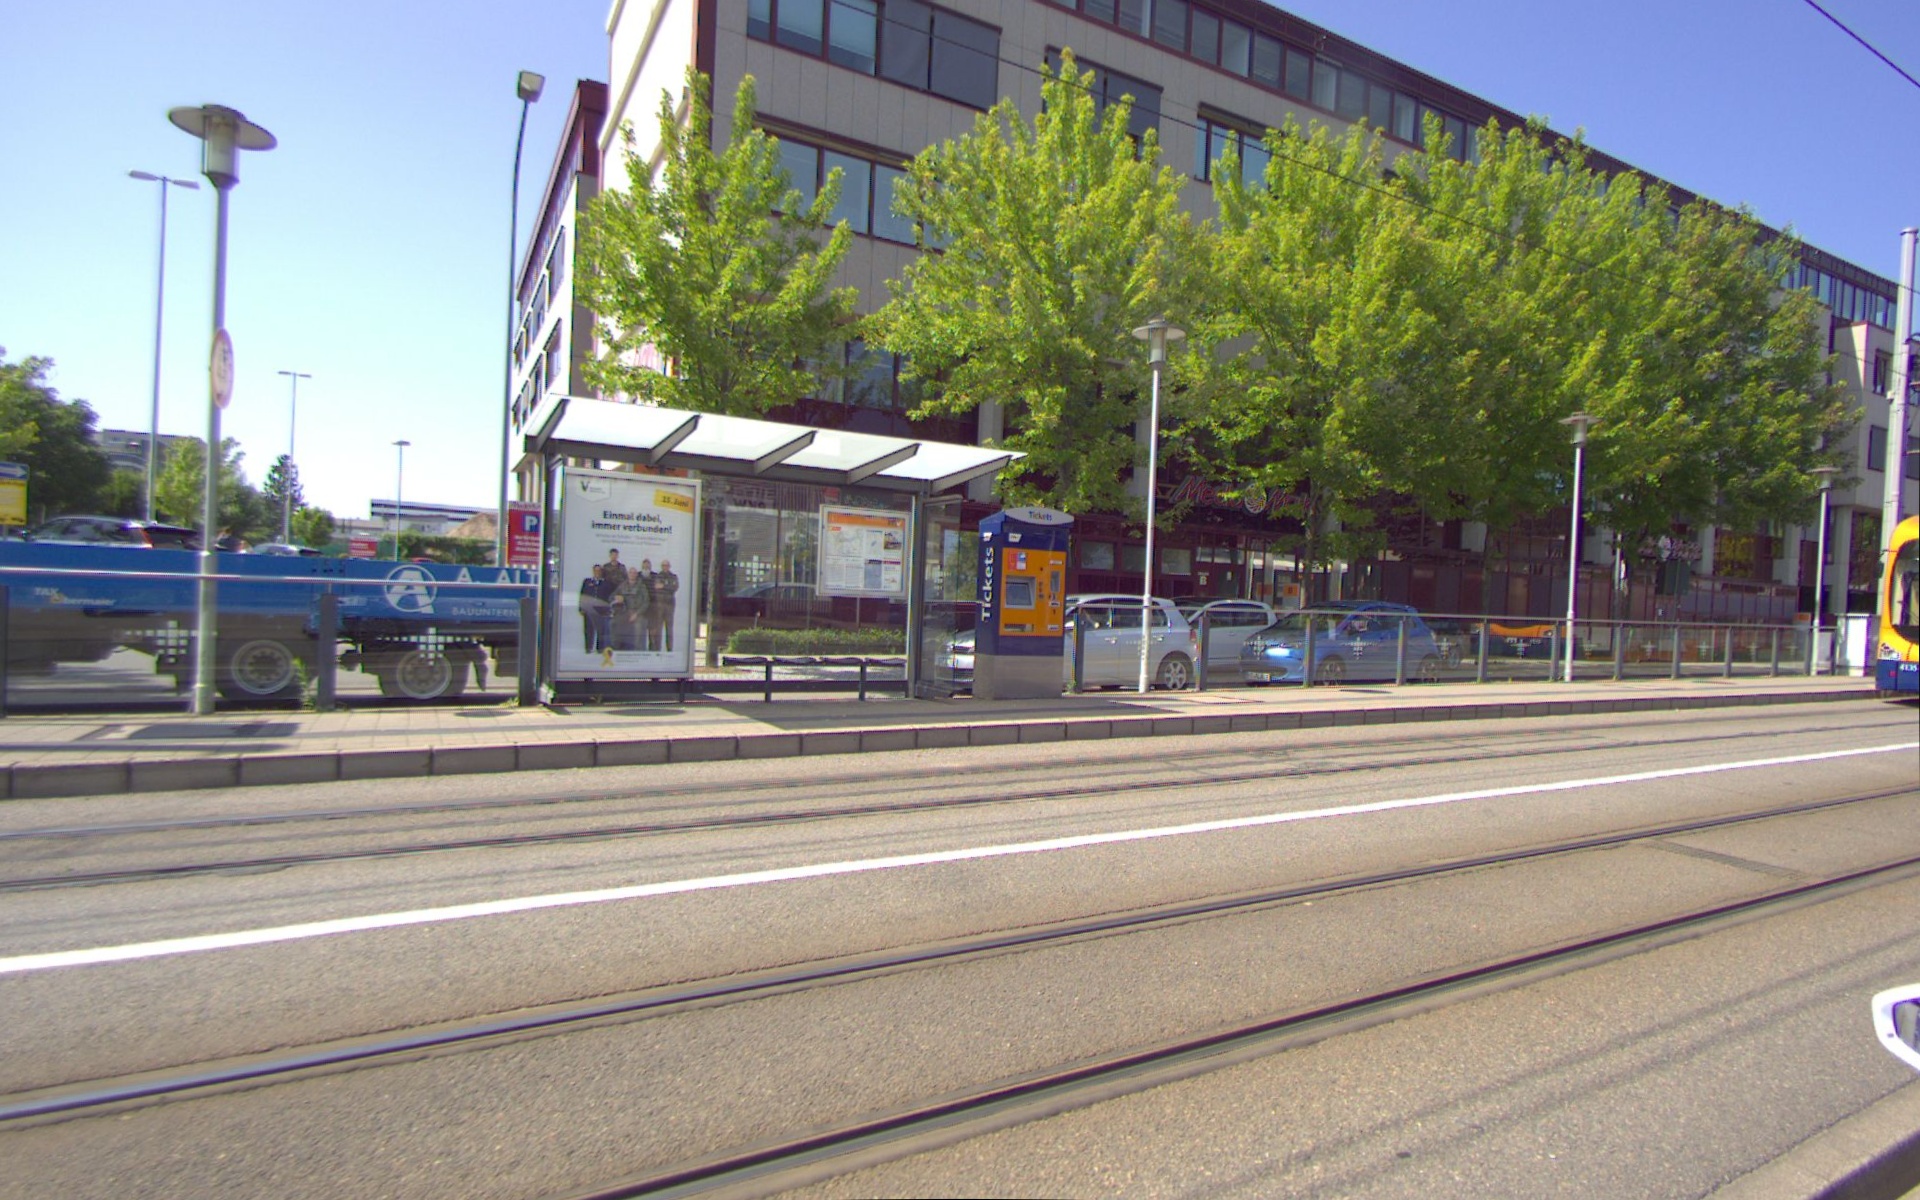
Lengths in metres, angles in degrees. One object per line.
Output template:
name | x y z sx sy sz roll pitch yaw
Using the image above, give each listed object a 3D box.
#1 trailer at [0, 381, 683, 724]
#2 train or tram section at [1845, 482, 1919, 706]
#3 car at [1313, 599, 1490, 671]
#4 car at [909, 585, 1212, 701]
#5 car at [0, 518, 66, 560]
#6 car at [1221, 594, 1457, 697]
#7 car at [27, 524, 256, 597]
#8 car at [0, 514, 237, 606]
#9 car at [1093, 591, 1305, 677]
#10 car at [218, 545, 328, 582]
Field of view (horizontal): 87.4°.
trailer | -6.851 -0.366 9.810 7.515 2.663 2.782 1 1 -31
train or tram section | 18.011 -0.015 17.163 5.675 3.580 2.598 2 1 -30
car | 10.455 0.821 23.762 3.951 1.539 1.753 2 1 -29
car | 1.528 0.605 14.722 4.230 1.492 1.714 2 -1 -31
car | -44.888 -2.866 46.613 1.965 1.828 4.706 2 1 31
car | 6.595 0.777 17.399 4.024 1.605 1.714 2 -2 -31
car | -20.384 -0.970 25.063 4.771 1.512 1.919 3 1 14
car | -19.030 -0.888 21.972 5.012 1.615 2.188 5 0 8
car | 4.719 0.655 19.754 3.856 1.483 1.715 1 2 -29
car | -30.611 -1.631 44.782 4.154 1.471 1.723 3 1 14
